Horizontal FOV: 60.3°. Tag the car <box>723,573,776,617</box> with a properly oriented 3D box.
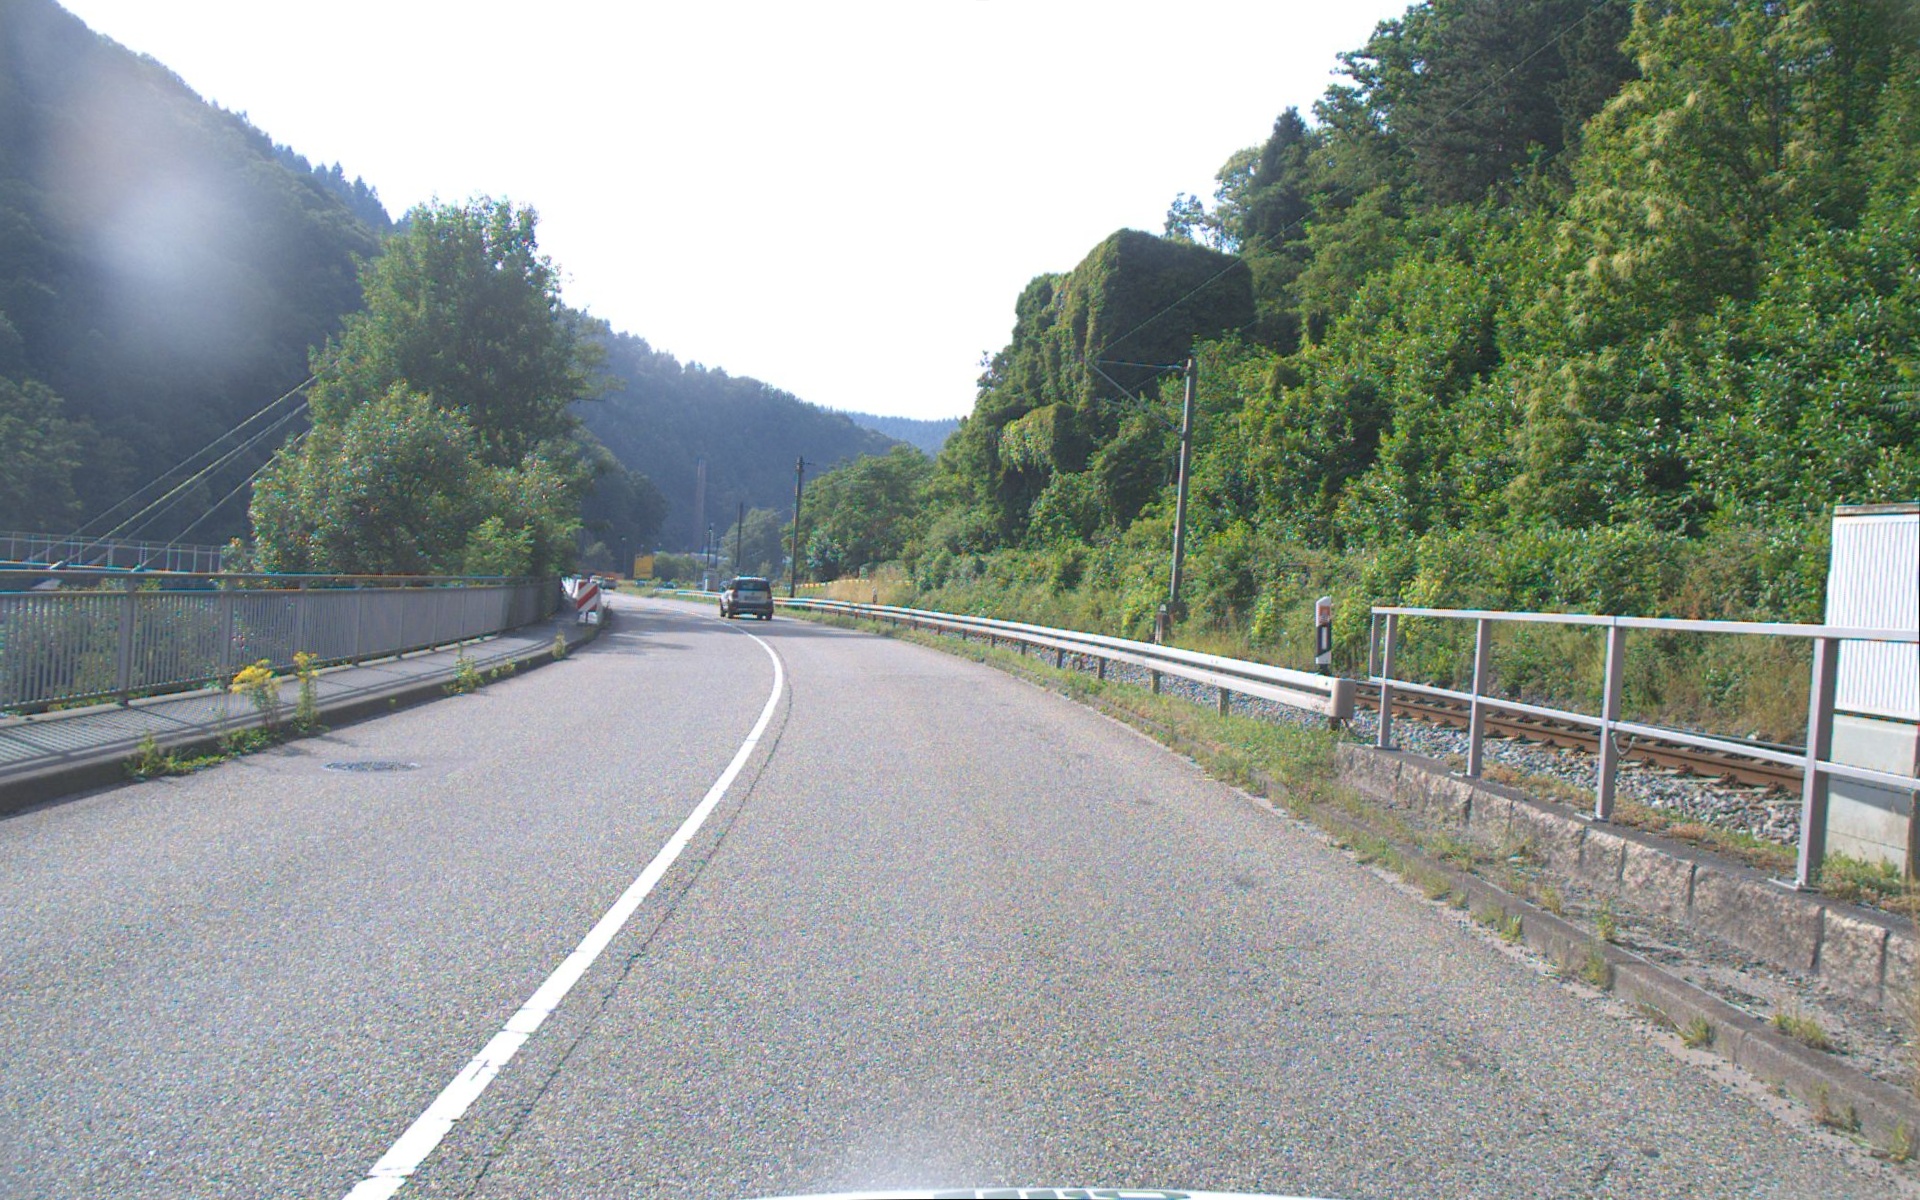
[{"bbox_3d":[-8.482,-0.206,66.346,1.839,1.685,3.990,1,0,-11],"label":"car"}]
